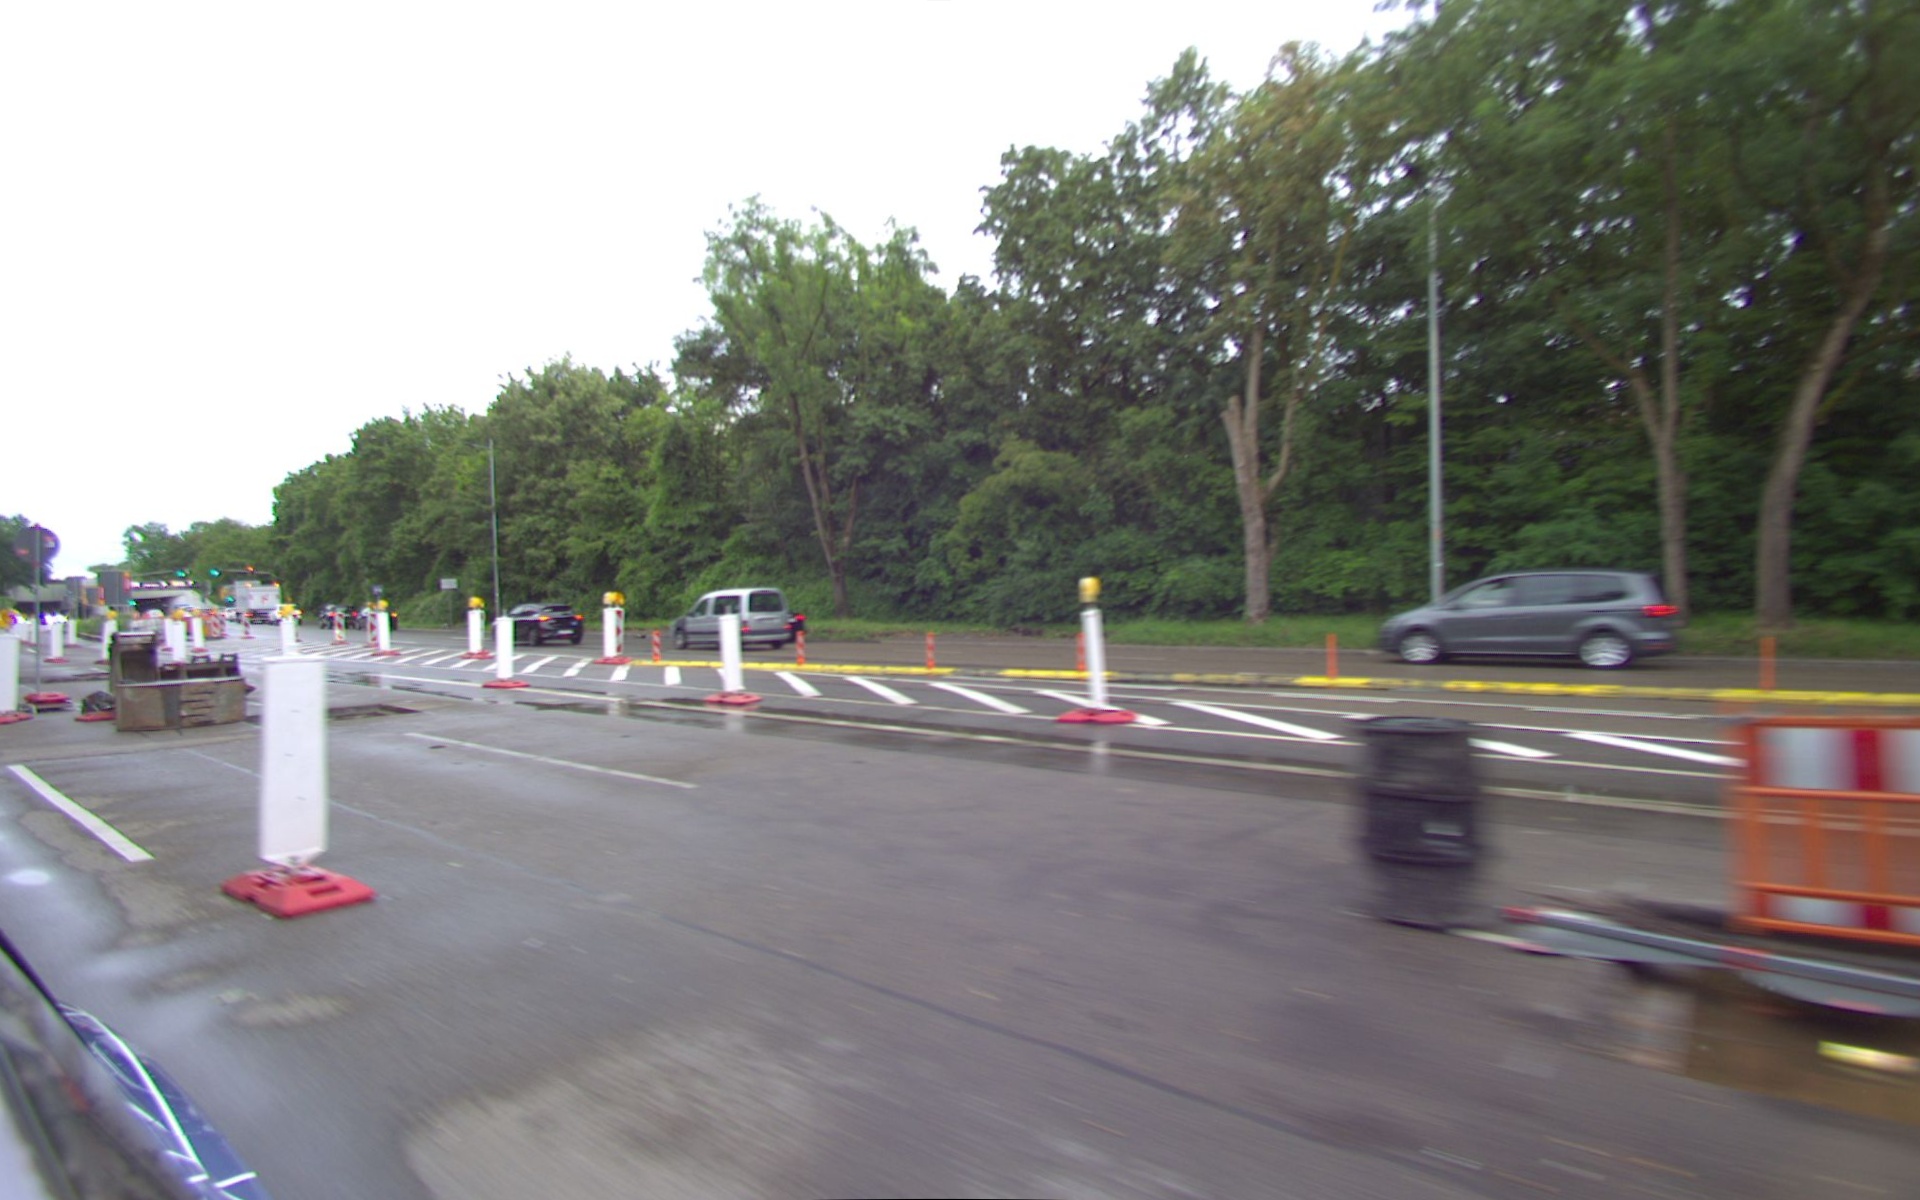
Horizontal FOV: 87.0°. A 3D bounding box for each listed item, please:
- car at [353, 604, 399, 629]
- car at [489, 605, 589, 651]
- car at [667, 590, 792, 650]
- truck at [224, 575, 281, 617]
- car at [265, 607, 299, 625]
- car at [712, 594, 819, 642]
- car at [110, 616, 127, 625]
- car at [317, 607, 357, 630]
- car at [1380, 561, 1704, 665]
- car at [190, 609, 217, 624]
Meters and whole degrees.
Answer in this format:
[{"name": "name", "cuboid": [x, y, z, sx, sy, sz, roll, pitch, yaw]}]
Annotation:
[{"name": "car", "cuboid": [-37.083, 1.051, 64.217, 1.655, 1.507, 3.772, 0, -1, -44]}, {"name": "car", "cuboid": [-14.520, 0.945, 34.824, 3.768, 1.507, 1.720, -1, -1, 41]}, {"name": "car", "cuboid": [-6.664, 0.570, 29.061, 3.769, 1.626, 1.657, -1, -1, 42]}, {"name": "truck", "cuboid": [-67.434, -0.339, 96.352, 3.106, 3.860, 9.655, -1, 0, -43]}, {"name": "car", "cuboid": [-57.736, 1.349, 86.204, 1.880, 1.507, 3.774, 0, -1, -42]}, {"name": "car", "cuboid": [-6.407, 0.593, 33.136, 3.607, 1.495, 1.603, -1, -1, 42]}, {"name": "car", "cuboid": [-139.494, 3.401, 167.784, 1.881, 1.507, 3.773, 0, -1, -43]}, {"name": "car", "cuboid": [-43.785, 1.292, 71.090, 1.655, 1.507, 3.772, 0, -1, -44]}, {"name": "car", "cuboid": [10.183, 0.241, 17.961, 4.763, 1.626, 1.657, -1, -1, 40]}, {"name": "car", "cuboid": [-79.229, 1.697, 105.932, 1.839, 1.507, 4.181, 0, -1, -43]}]
